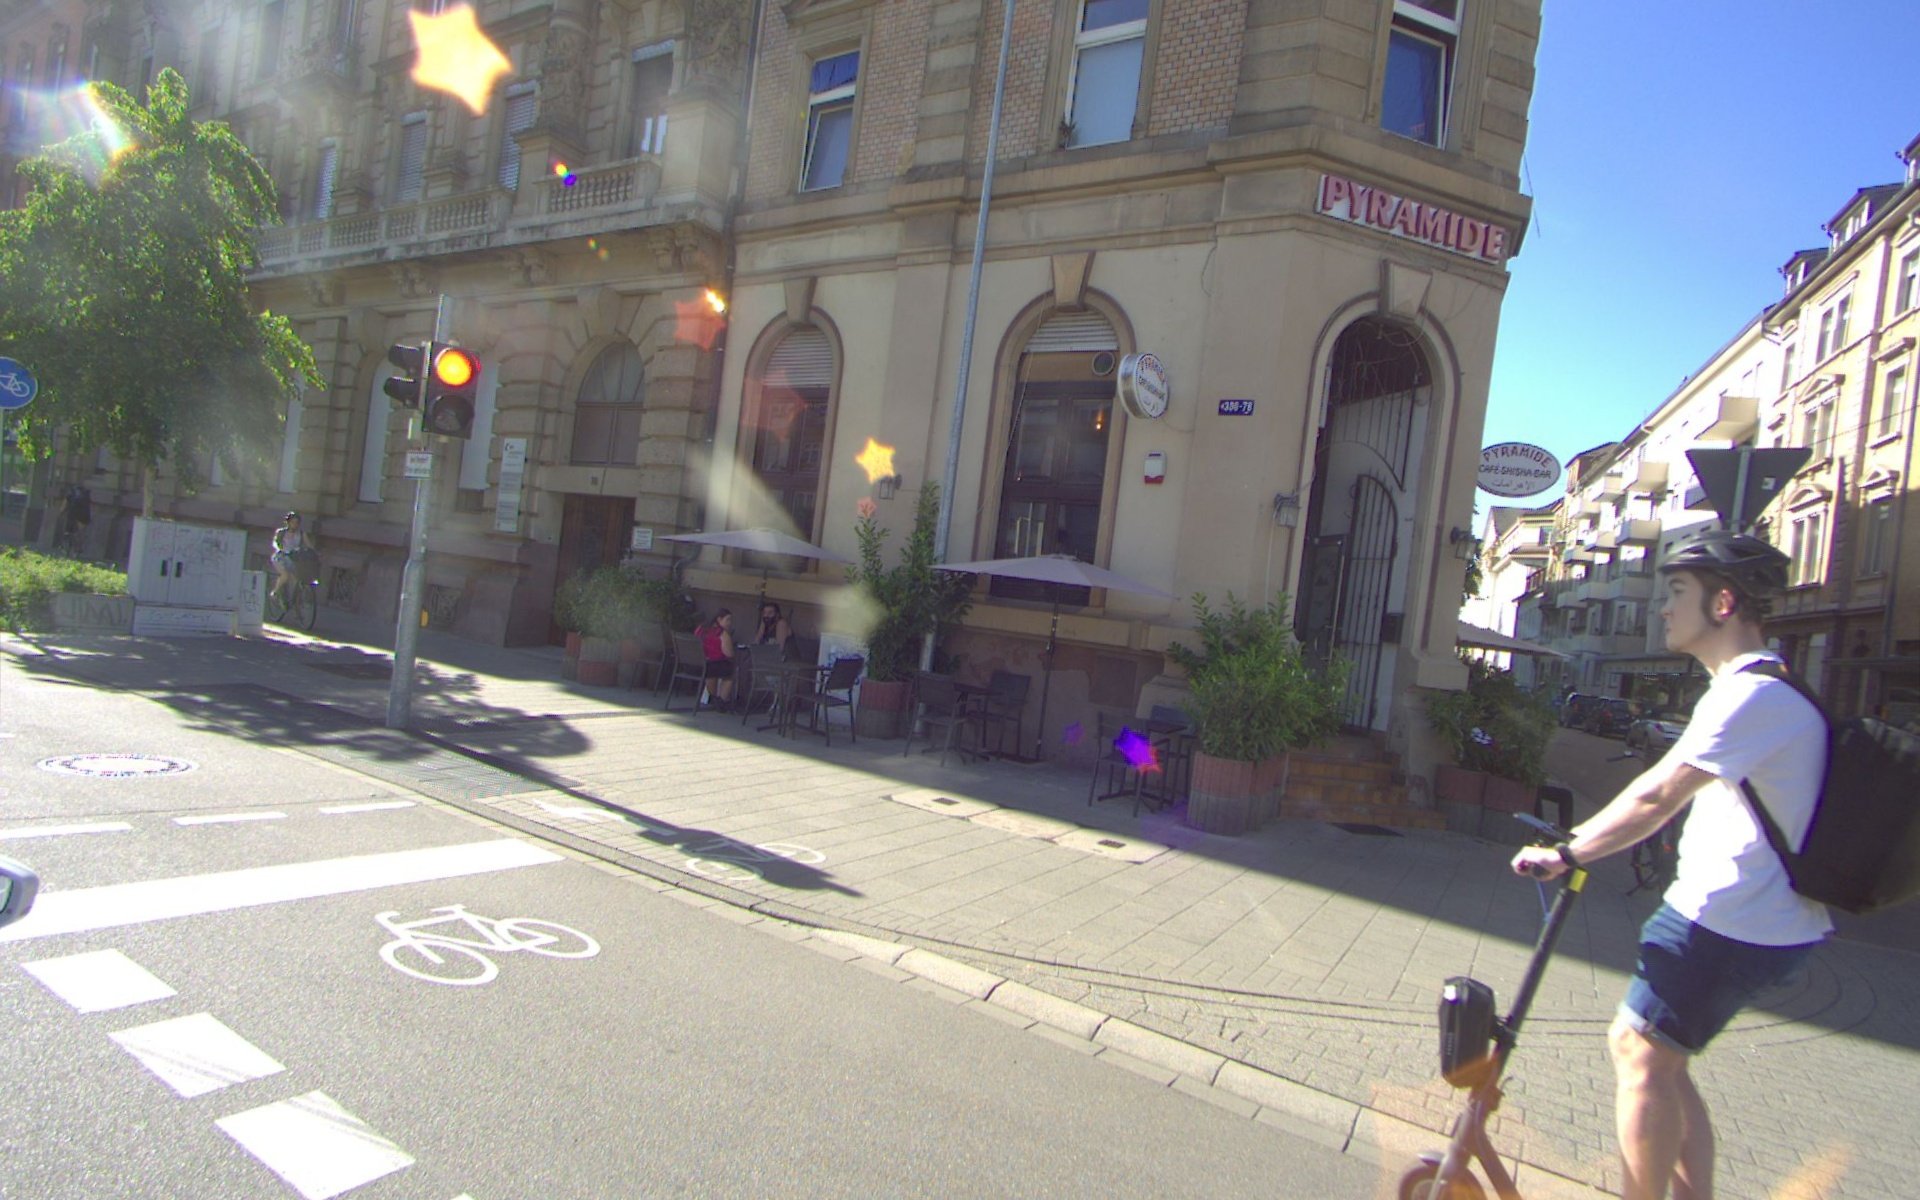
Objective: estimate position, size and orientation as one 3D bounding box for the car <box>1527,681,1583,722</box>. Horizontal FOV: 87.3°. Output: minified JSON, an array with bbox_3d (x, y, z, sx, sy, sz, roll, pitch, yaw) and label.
[{"bbox_3d":[30.114,5.107,51.012,1.769,1.685,3.772,7,-1,23],"label":"car"}]

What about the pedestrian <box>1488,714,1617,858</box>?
[{"bbox_3d":[5.994,1.855,10.240,0.917,1.228,0.852,7,-1,25],"label":"pedestrian"}]

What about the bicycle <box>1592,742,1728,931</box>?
[{"bbox_3d":[5.694,1.845,8.203,0.643,1.186,1.818,11,2,35],"label":"bicycle"}]

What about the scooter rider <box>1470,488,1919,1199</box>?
[{"bbox_3d":[1.855,0.747,2.454,0.886,1.882,0.668,7,-1,31],"label":"scooter rider"}]

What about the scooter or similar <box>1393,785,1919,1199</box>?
[{"bbox_3d":[1.777,1.201,2.495,1.151,1.240,0.492,7,-2,31],"label":"scooter or similar"}]

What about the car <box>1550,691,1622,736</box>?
[{"bbox_3d":[25.849,4.654,41.653,1.769,1.449,3.773,7,-1,22],"label":"car"}]

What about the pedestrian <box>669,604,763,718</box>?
[{"bbox_3d":[-2.777,0.690,11.468,0.624,1.193,0.706,7,2,31],"label":"pedestrian"}]

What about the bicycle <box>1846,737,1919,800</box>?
[{"bbox_3d":[22.064,3.968,23.629,0.621,1.192,2.014,7,0,1],"label":"bicycle"}]

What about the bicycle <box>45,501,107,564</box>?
[{"bbox_3d":[-21.045,-1.616,23.938,1.869,1.349,0.615,7,4,33],"label":"bicycle"}]

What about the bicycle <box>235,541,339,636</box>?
[{"bbox_3d":[-10.362,-0.196,15.463,1.869,1.237,0.584,7,0,34],"label":"bicycle"}]

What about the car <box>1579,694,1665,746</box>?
[{"bbox_3d":[24.068,4.315,36.708,1.769,1.449,3.773,7,-1,22],"label":"car"}]

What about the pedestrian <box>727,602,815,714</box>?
[{"bbox_3d":[-2.297,0.702,12.265,0.624,1.252,0.706,7,2,31],"label":"pedestrian"}]

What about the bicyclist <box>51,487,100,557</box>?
[{"bbox_3d":[-20.990,-1.842,23.867,0.788,1.552,0.660,7,5,33],"label":"bicyclist"}]

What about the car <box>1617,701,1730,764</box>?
[{"bbox_3d":[21.802,4.013,30.903,1.769,1.350,4.000,9,0,22],"label":"car"}]

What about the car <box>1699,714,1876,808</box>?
[{"bbox_3d":[18.520,3.541,22.753,1.769,1.437,4.000,9,0,22],"label":"car"}]

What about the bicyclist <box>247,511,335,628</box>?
[{"bbox_3d":[-10.245,-0.466,15.410,0.945,1.659,0.666,7,1,34],"label":"bicyclist"}]

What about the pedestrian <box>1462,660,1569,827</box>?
[{"bbox_3d":[6.568,1.675,11.954,0.852,1.781,0.909,7,-1,25],"label":"pedestrian"}]
